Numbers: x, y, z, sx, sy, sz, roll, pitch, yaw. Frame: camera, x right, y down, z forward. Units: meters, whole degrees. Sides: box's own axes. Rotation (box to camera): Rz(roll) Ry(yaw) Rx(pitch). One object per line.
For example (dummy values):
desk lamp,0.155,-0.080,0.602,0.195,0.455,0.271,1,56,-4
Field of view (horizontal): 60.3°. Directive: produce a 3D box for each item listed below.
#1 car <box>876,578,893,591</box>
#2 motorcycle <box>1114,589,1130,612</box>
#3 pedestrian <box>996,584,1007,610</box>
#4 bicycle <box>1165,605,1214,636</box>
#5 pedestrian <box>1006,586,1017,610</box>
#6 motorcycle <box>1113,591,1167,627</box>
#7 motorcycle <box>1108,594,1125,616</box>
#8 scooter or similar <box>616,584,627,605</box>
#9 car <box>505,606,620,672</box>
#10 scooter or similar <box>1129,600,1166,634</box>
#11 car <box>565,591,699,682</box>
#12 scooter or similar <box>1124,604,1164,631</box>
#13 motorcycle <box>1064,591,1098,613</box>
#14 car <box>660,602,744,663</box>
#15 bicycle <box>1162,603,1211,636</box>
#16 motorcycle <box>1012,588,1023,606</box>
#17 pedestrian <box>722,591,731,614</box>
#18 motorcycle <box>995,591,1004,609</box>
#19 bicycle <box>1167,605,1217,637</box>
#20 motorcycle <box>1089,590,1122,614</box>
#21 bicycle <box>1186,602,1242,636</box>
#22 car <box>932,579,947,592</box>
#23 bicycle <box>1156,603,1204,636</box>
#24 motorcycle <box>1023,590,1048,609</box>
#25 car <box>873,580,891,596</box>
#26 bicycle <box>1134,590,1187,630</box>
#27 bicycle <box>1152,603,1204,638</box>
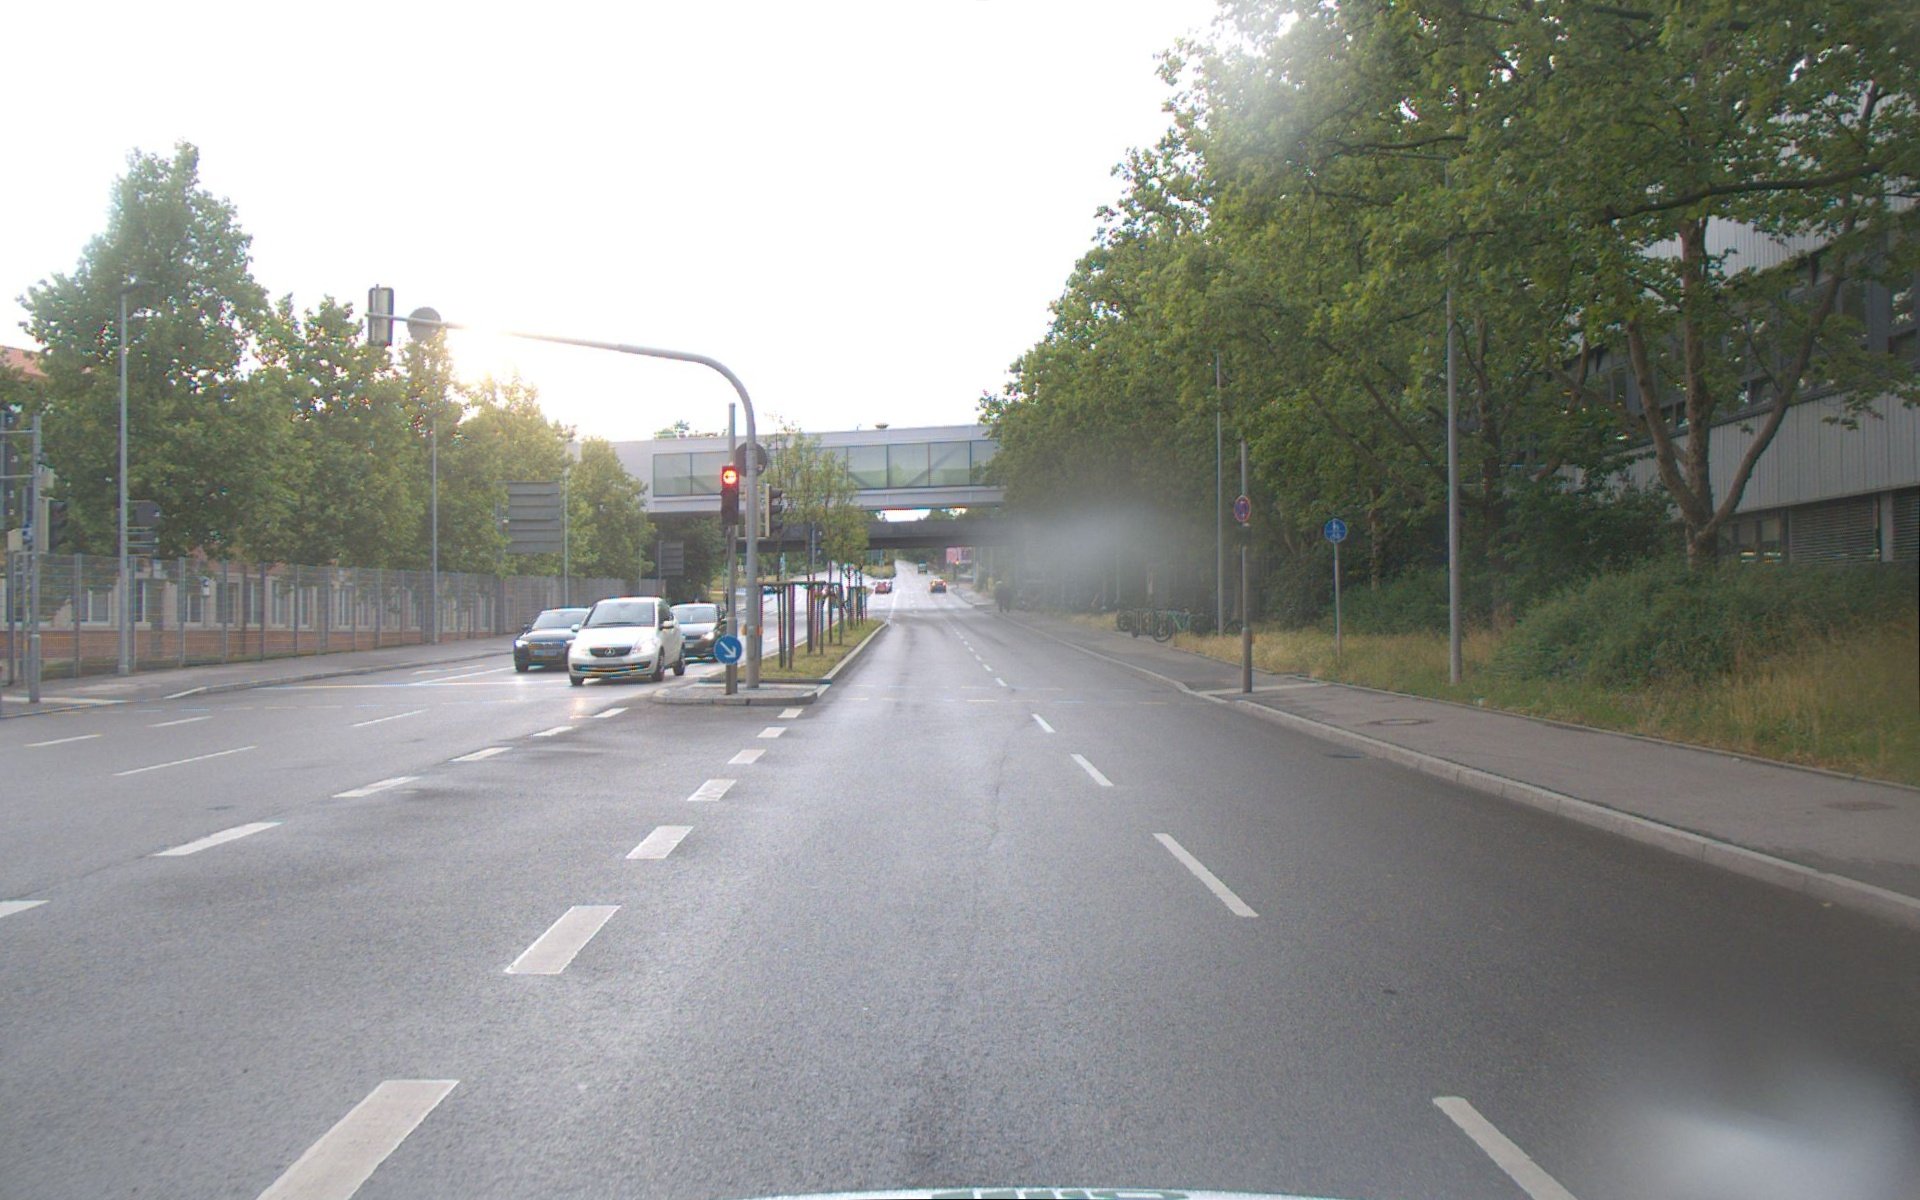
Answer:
car,-9.564,-1.967,209.044,2.122,1.610,4.662,1,0,-2
motorcycle,9.497,0.023,97.171,0.632,1.302,1.990,-1,0,-2
pedestrian,2.818,-0.194,112.019,0.598,1.751,0.892,-1,0,8
bicycle,7.411,0.657,53.418,1.520,0.975,0.393,-2,0,-2
pedestrian,3.466,-0.132,111.917,0.636,1.624,0.579,-1,0,10
motorcycle,6.837,0.347,62.748,1.966,1.295,0.442,-2,0,11
motorcycle,9.605,0.305,101.708,0.341,1.301,2.069,-1,1,26
scooter or similar,-20.990,-0.342,102.566,0.305,1.239,1.308,-1,1,3
car,-9.617,0.902,40.361,1.737,1.428,4.613,-2,0,-1
scooter or similar,6.334,0.565,55.986,1.189,1.110,0.312,-2,0,-6
car,-6.432,0.684,32.874,1.735,1.617,4.484,-2,0,0
scooter or similar,6.805,0.644,61.107,1.450,0.953,0.364,-2,0,-19
motorcycle,6.724,0.117,92.247,1.819,1.212,0.519,-1,1,-18
car,-6.530,0.785,42.144,1.546,1.428,4.110,-2,0,-1
bicycle,7.406,0.630,54.085,1.520,1.022,0.393,-2,0,-2
motorcycle,4.067,-0.215,117.180,0.459,1.234,1.946,-1,0,11
pedestrian,-19.072,0.195,135.144,0.508,1.847,0.800,0,1,8
motorcycle,2.658,-0.004,111.976,0.460,1.156,1.818,-1,0,-2
bicycle,7.439,0.662,53.024,1.520,0.975,0.393,-2,0,-2
motorcycle,7.225,0.108,82.307,1.618,1.170,0.493,1,-1,6
bicycle,7.564,0.566,49.302,1.575,0.956,0.387,-2,0,-2
car,-2.477,-1.742,198.041,1.710,1.495,4.164,0,2,-3
bicycle,7.301,0.647,54.926,1.520,1.022,0.393,-2,0,-2
motorcycle,5.297,-0.038,115.923,0.542,1.320,1.916,-2,0,-40
car,-9.312,-1.437,198.150,2.035,1.748,4.195,1,0,-4
bicycle,7.161,0.355,59.107,1.826,1.372,0.446,-2,0,-14
bicycle,6.711,0.641,50.993,1.520,1.022,0.393,-2,0,-2
